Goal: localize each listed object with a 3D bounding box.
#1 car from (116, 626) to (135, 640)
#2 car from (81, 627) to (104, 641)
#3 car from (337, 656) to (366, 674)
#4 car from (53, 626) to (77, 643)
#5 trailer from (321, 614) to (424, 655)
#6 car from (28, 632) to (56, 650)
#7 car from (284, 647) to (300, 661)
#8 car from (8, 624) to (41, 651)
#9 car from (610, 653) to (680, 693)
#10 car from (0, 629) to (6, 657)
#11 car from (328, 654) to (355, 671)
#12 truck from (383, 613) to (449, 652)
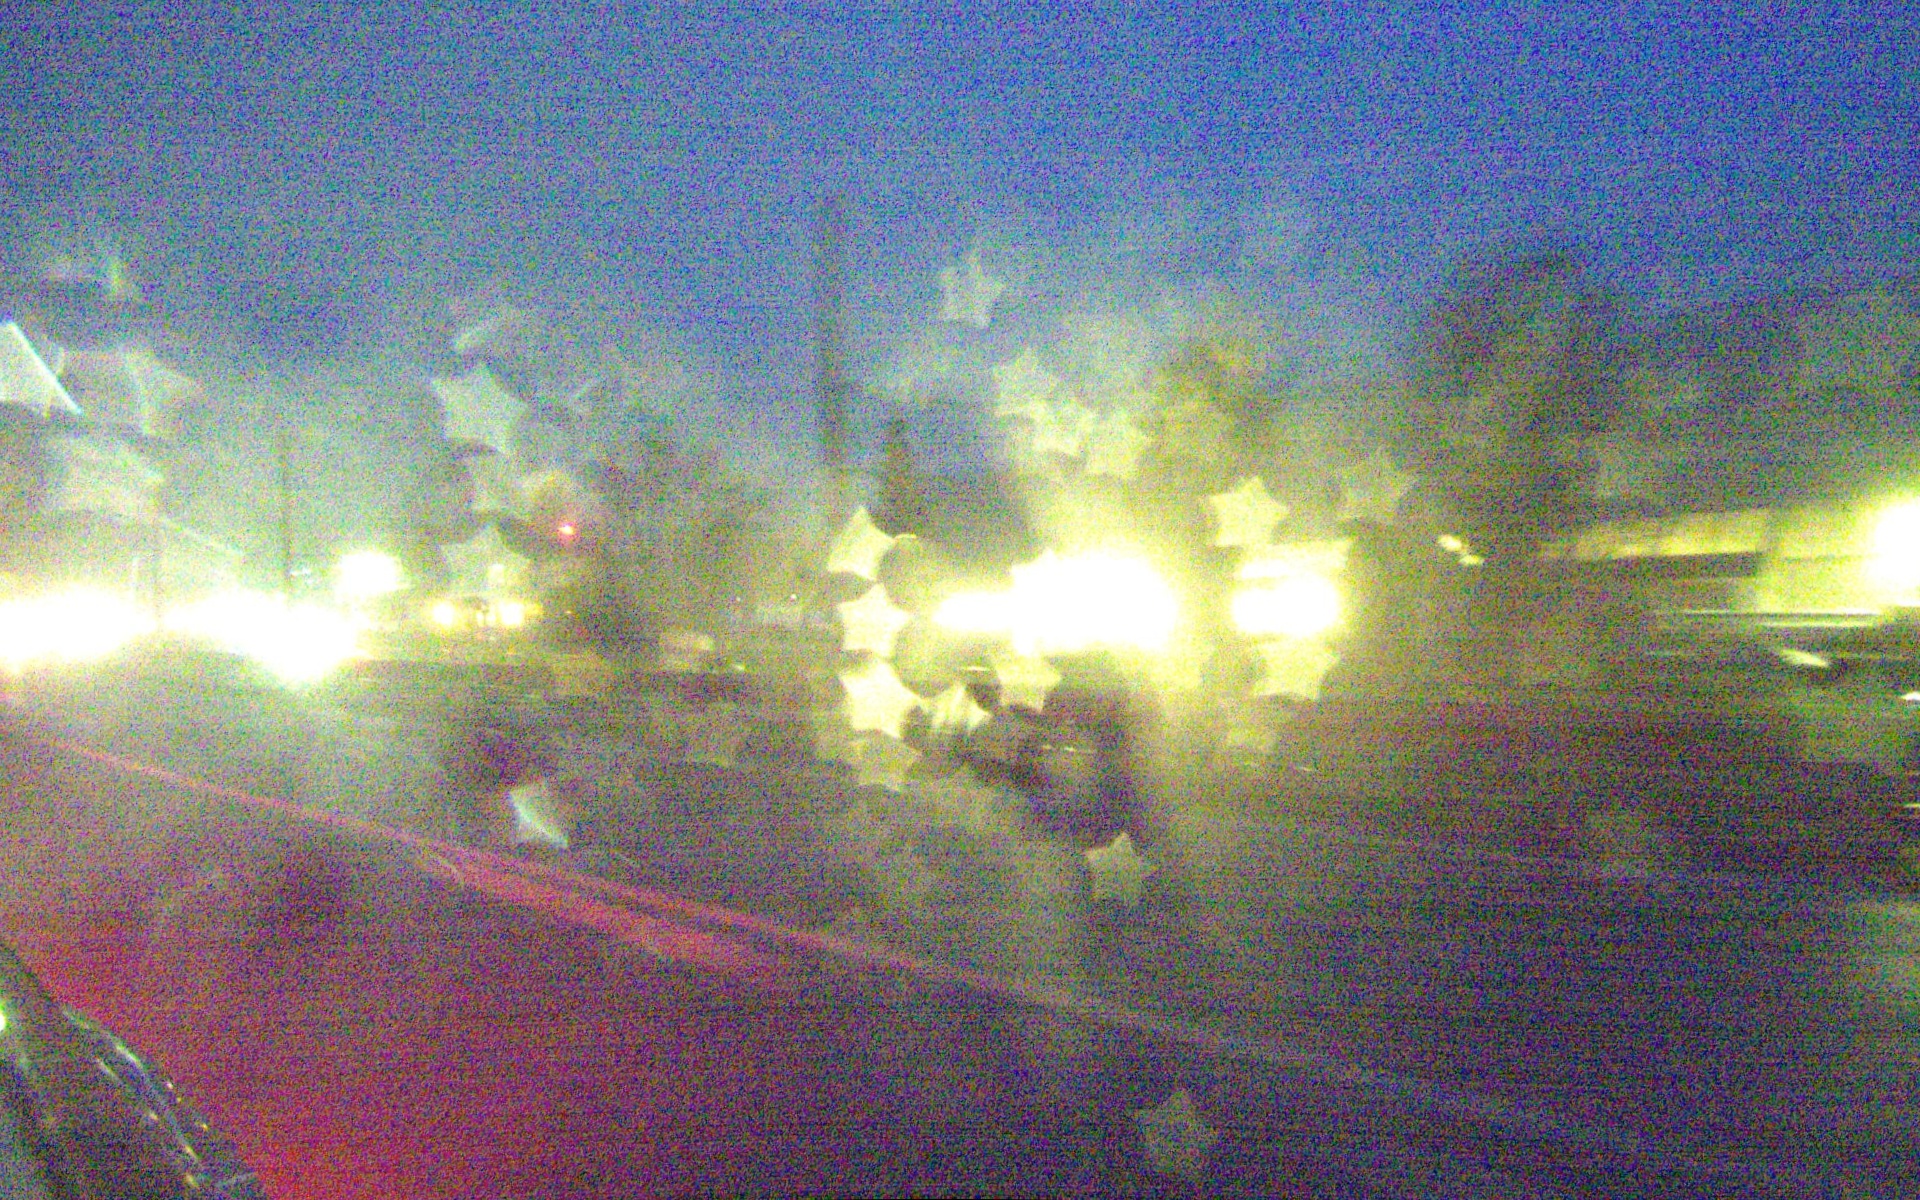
[{"bbox_3d":[-121.014,4.721,146.754,1.764,1.635,4.388,0,3,-35],"label":"car"},{"bbox_3d":[-106.240,4.110,124.004,1.793,1.571,4.188,-1,0,-36],"label":"car"},{"bbox_3d":[-62.025,6.576,103.130,1.786,1.582,4.298,-1,0,-41],"label":"car"},{"bbox_3d":[-96.658,3.724,109.312,1.666,1.693,3.475,0,-1,-37],"label":"car"},{"bbox_3d":[-75.187,4.350,129.929,3.321,4.832,11.452,-1,0,26],"label":"trailer"},{"bbox_3d":[-87.533,3.883,96.523,1.776,1.531,4.543,1,-1,-40],"label":"car"},{"bbox_3d":[-91.715,7.433,138.889,1.784,1.688,4.304,-1,0,-33],"label":"car"},{"bbox_3d":[-78.809,3.127,85.268,1.969,2.090,4.005,-1,0,-42],"label":"car"},{"bbox_3d":[-17.963,4.136,57.654,3.996,2.029,1.974,-1,0,40],"label":"car"},{"bbox_3d":[-58.520,2.595,60.425,4.612,1.625,1.972,-1,-1,43],"label":"car"},{"bbox_3d":[-68.083,6.840,111.388,1.786,1.688,4.299,-1,0,-41],"label":"car"},{"bbox_3d":[-72.554,4.306,135.139,3.321,4.832,7.254,-1,0,26],"label":"truck"}]
